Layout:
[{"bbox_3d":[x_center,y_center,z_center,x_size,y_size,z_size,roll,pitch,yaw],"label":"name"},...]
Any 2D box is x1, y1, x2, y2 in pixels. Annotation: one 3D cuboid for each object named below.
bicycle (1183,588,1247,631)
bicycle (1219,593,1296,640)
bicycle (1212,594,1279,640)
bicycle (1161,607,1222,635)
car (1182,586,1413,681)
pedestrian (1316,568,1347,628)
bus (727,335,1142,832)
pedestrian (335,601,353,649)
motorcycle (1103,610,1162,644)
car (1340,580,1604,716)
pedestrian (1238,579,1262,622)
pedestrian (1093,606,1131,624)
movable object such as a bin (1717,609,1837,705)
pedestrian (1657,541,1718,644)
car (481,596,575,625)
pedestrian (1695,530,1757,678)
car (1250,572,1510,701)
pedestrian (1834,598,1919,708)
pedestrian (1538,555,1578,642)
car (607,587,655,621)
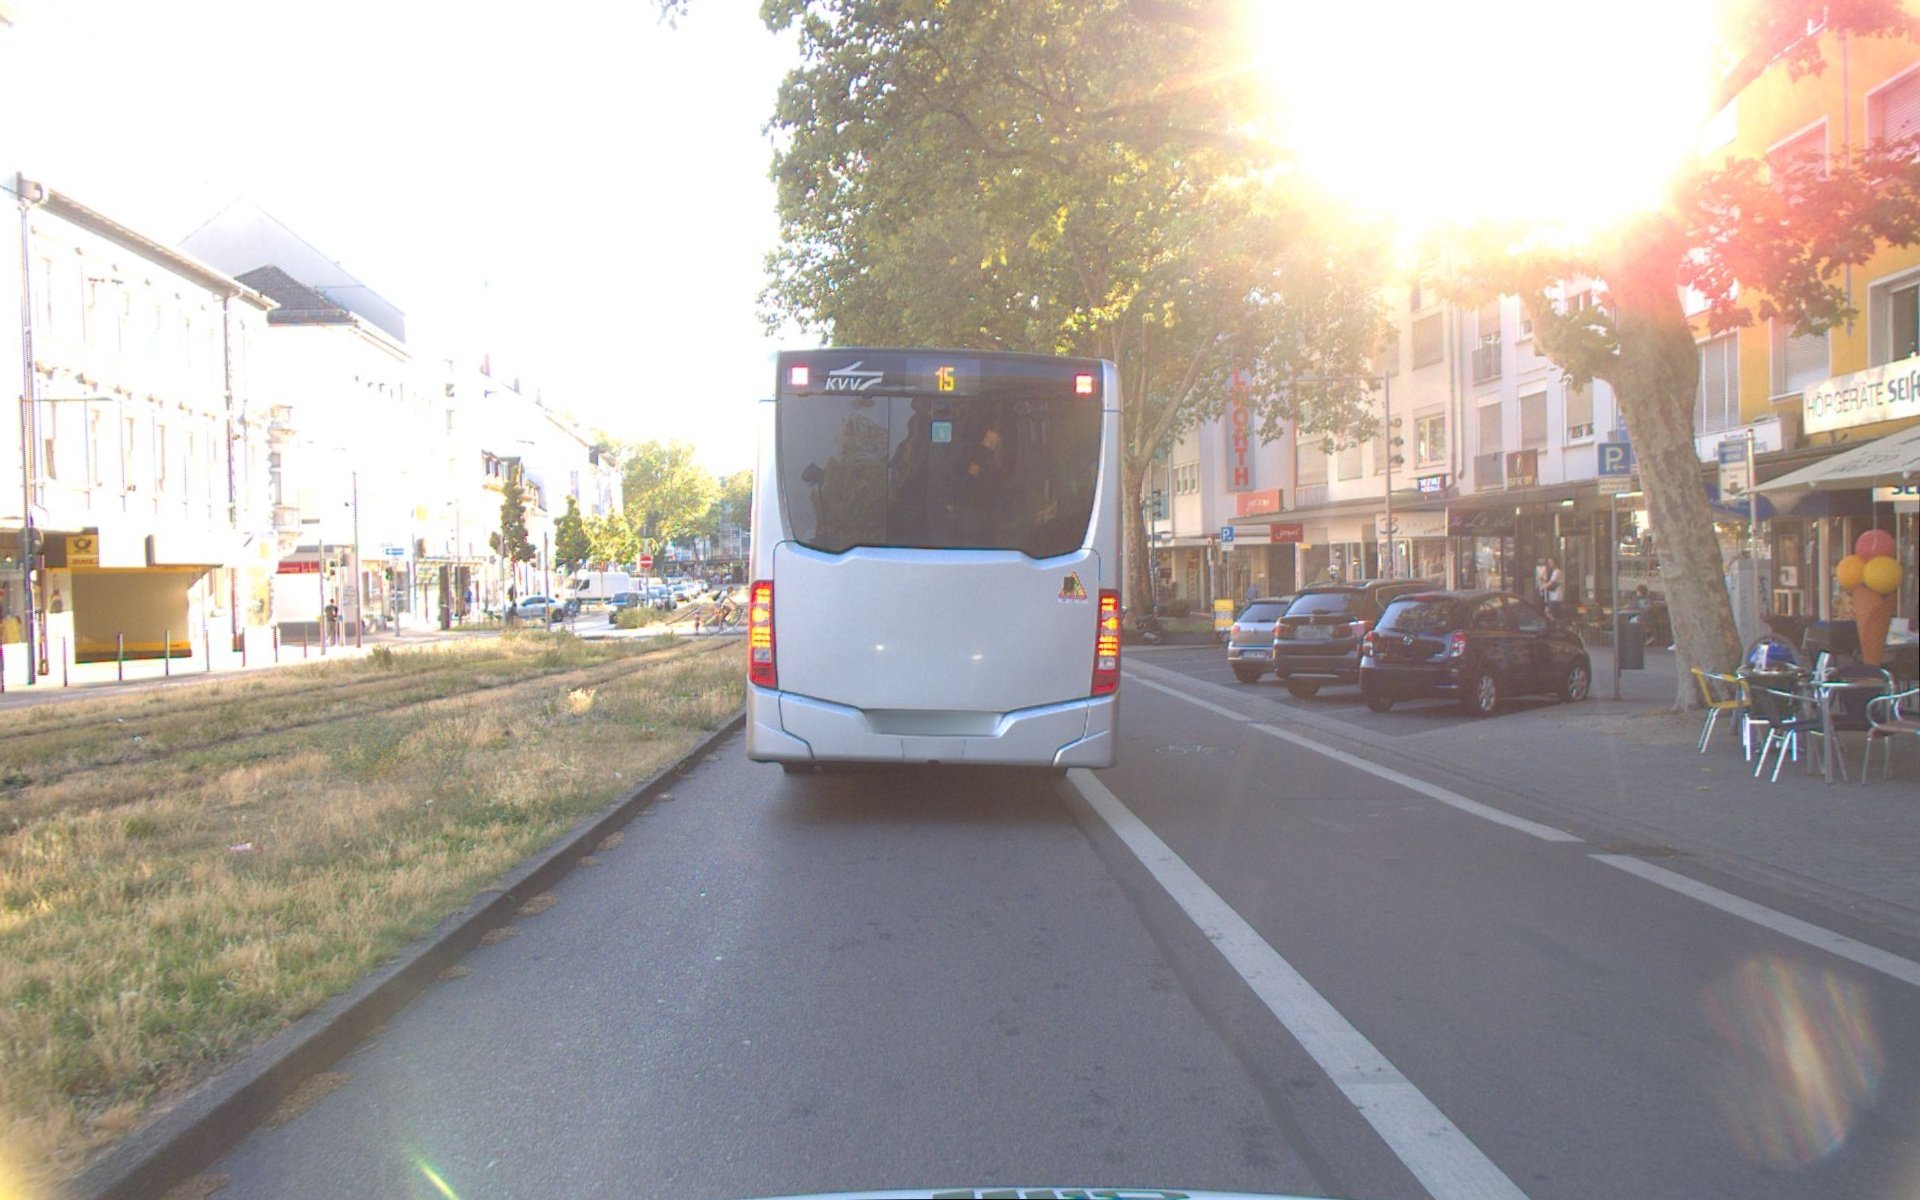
[{"bbox_3d":[7.667,0.283,49.725,1.836,1.210,0.712,-3,0,6],"label":"bicycle"},{"bbox_3d":[8.507,0.468,47.387,2.037,1.254,0.832,-2,0,3],"label":"bicycle"},{"bbox_3d":[8.401,0.510,48.677,1.753,1.210,0.670,-4,0,-10],"label":"bicycle"},{"bbox_3d":[7.127,0.652,50.908,1.836,0.778,0.712,-1,3,6],"label":"bicycle"},{"bbox_3d":[5.945,0.545,28.905,4.138,1.477,1.784,-2,0,-40],"label":"car"},{"bbox_3d":[11.574,-0.067,51.525,0.764,1.825,0.764,-1,0,-2],"label":"pedestrian"},{"bbox_3d":[-0.205,-0.152,14.021,2.623,3.137,7.113,0,1,-1],"label":"bus"},{"bbox_3d":[-23.066,0.931,61.915,0.417,1.743,0.508,-1,0,2],"label":"pedestrian"},{"bbox_3d":[4.828,0.748,46.358,1.539,0.908,0.544,-2,0,-5],"label":"motorcycle"},{"bbox_3d":[6.702,0.568,21.485,3.579,1.567,1.715,-2,0,-43],"label":"car"},{"bbox_3d":[11.833,-0.001,67.547,0.733,1.708,0.834,-1,2,-8],"label":"pedestrian"},{"bbox_3d":[5.292,0.510,57.570,1.229,0.599,0.482,-1,0,-4],"label":"pedestrian"},{"bbox_3d":[9.258,0.634,18.758,0.914,1.041,0.834,0,0,-23],"label":"movable object such as a bin"},{"bbox_3d":[13.384,-0.137,30.450,0.692,1.822,0.788,-4,0,4],"label":"pedestrian"},{"bbox_3d":[-23.373,0.570,89.564,4.506,1.437,1.973,-2,0,-39],"label":"car"},{"bbox_3d":[9.803,0.046,21.173,0.509,1.864,0.471,-1,0,-24],"label":"pedestrian"},{"bbox_3d":[6.300,0.482,24.580,4.117,1.710,1.781,-2,0,-43],"label":"car"},{"bbox_3d":[9.764,0.555,17.554,0.571,1.135,0.751,1,0,-1],"label":"pedestrian"},{"bbox_3d":[13.393,-0.031,37.071,0.629,1.909,0.825,-1,0,6],"label":"pedestrian"},{"bbox_3d":[-16.452,0.185,82.878,1.687,1.535,3.475,-4,0,-1],"label":"car"}]
